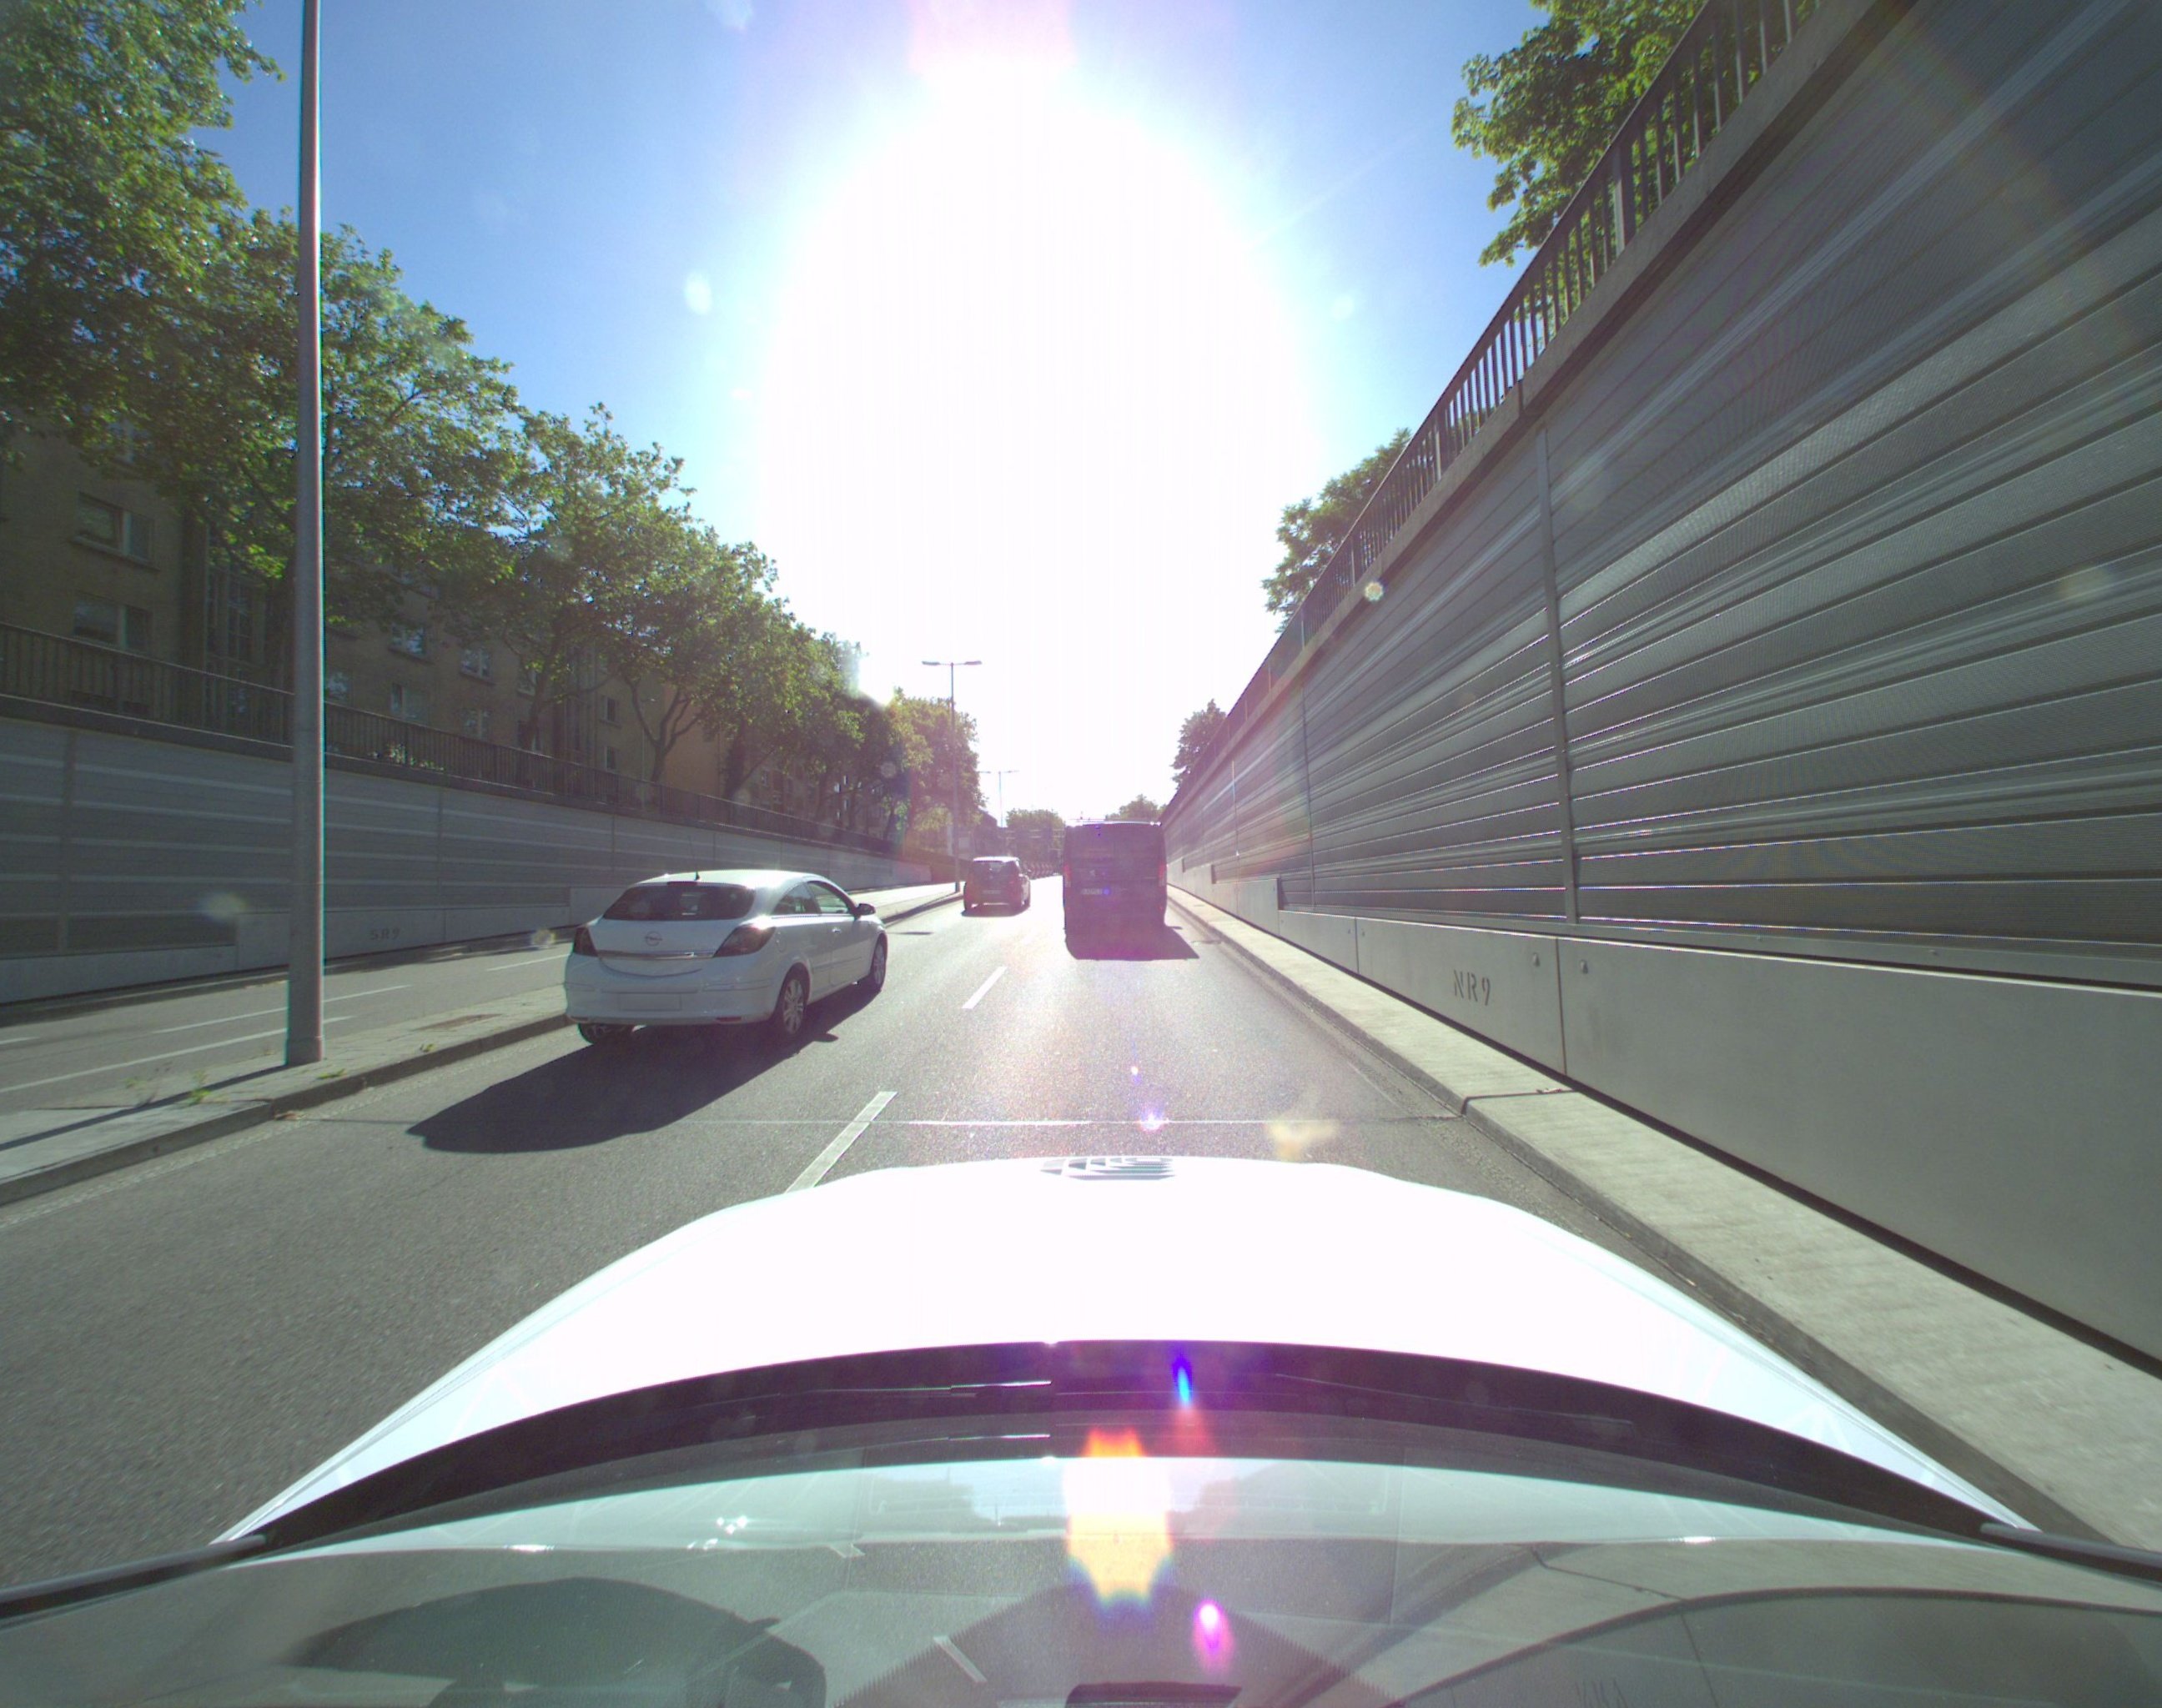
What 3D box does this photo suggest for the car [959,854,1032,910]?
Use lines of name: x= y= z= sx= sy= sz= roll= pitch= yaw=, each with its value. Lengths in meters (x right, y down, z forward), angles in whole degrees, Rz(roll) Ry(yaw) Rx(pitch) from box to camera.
car: x=-2.404 y=0.763 z=23.626 sx=1.683 sy=1.483 sz=3.319 roll=-1 pitch=0 yaw=1

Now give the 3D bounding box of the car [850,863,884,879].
car: x=-19.784 y=1.595 z=75.478 sx=1.986 sy=1.389 sz=4.173 roll=-1 pitch=-2 yaw=2

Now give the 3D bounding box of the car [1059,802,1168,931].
car: x=0.681 y=0.266 z=17.466 sx=2.022 sy=2.402 sz=3.974 roll=-1 pitch=-1 yaw=2

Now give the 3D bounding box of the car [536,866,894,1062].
car: x=-3.099 y=0.827 z=7.833 sx=1.613 sy=1.403 sz=3.853 roll=-1 pitch=-1 yaw=1
